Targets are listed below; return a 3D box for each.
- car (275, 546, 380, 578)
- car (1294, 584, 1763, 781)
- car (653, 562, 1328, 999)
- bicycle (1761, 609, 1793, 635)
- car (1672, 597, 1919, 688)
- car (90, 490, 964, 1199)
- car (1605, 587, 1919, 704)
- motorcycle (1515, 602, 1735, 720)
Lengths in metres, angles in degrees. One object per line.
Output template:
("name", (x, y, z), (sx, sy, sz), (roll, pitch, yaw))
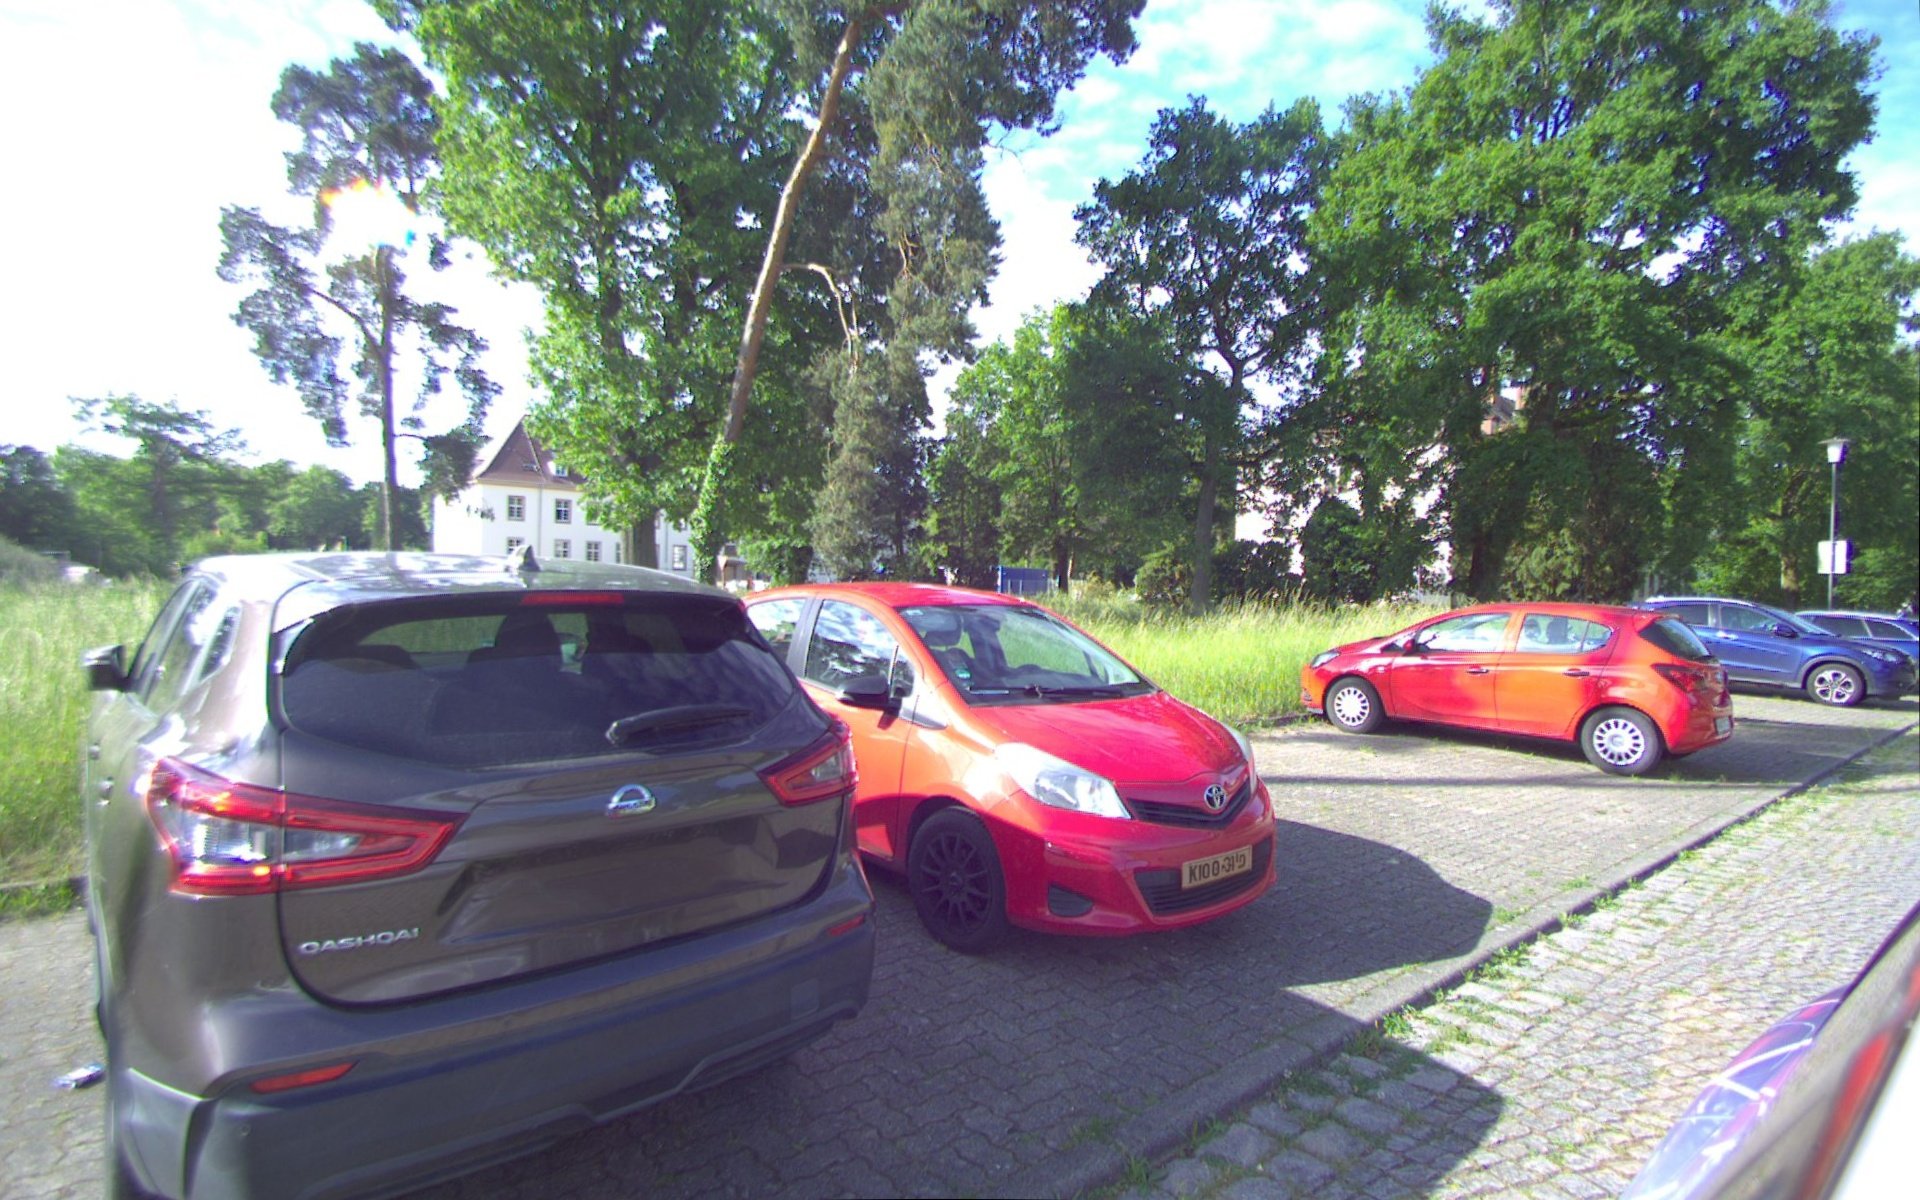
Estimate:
("car", (-44.618, -2.636, 71.497), (5.893, 2.198, 2.379), (0, 1, -6))
("car", (5.592, 0.664, 10.333), (1.617, 1.497, 3.834), (1, 2, -41))
("car", (-0.143, 0.594, 5.572), (1.616, 1.549, 3.771), (1, 1, -40))
("bicycle", (34.408, 0.927, 42.619), (1.231, 1.029, 0.711), (1, 1, -33))
("car", (16.899, 0.779, 19.853), (1.682, 1.425, 4.464), (1, 3, -37))
("car", (-1.948, 0.594, 3.639), (1.741, 1.642, 3.943), (1, 1, -41))
("car", (13.374, 0.650, 16.795), (1.720, 1.611, 4.185), (1, 1, -40))
("motorcycle", (8.784, 0.746, 13.480), (0.713, 1.336, 2.305), (1, 2, -40))
